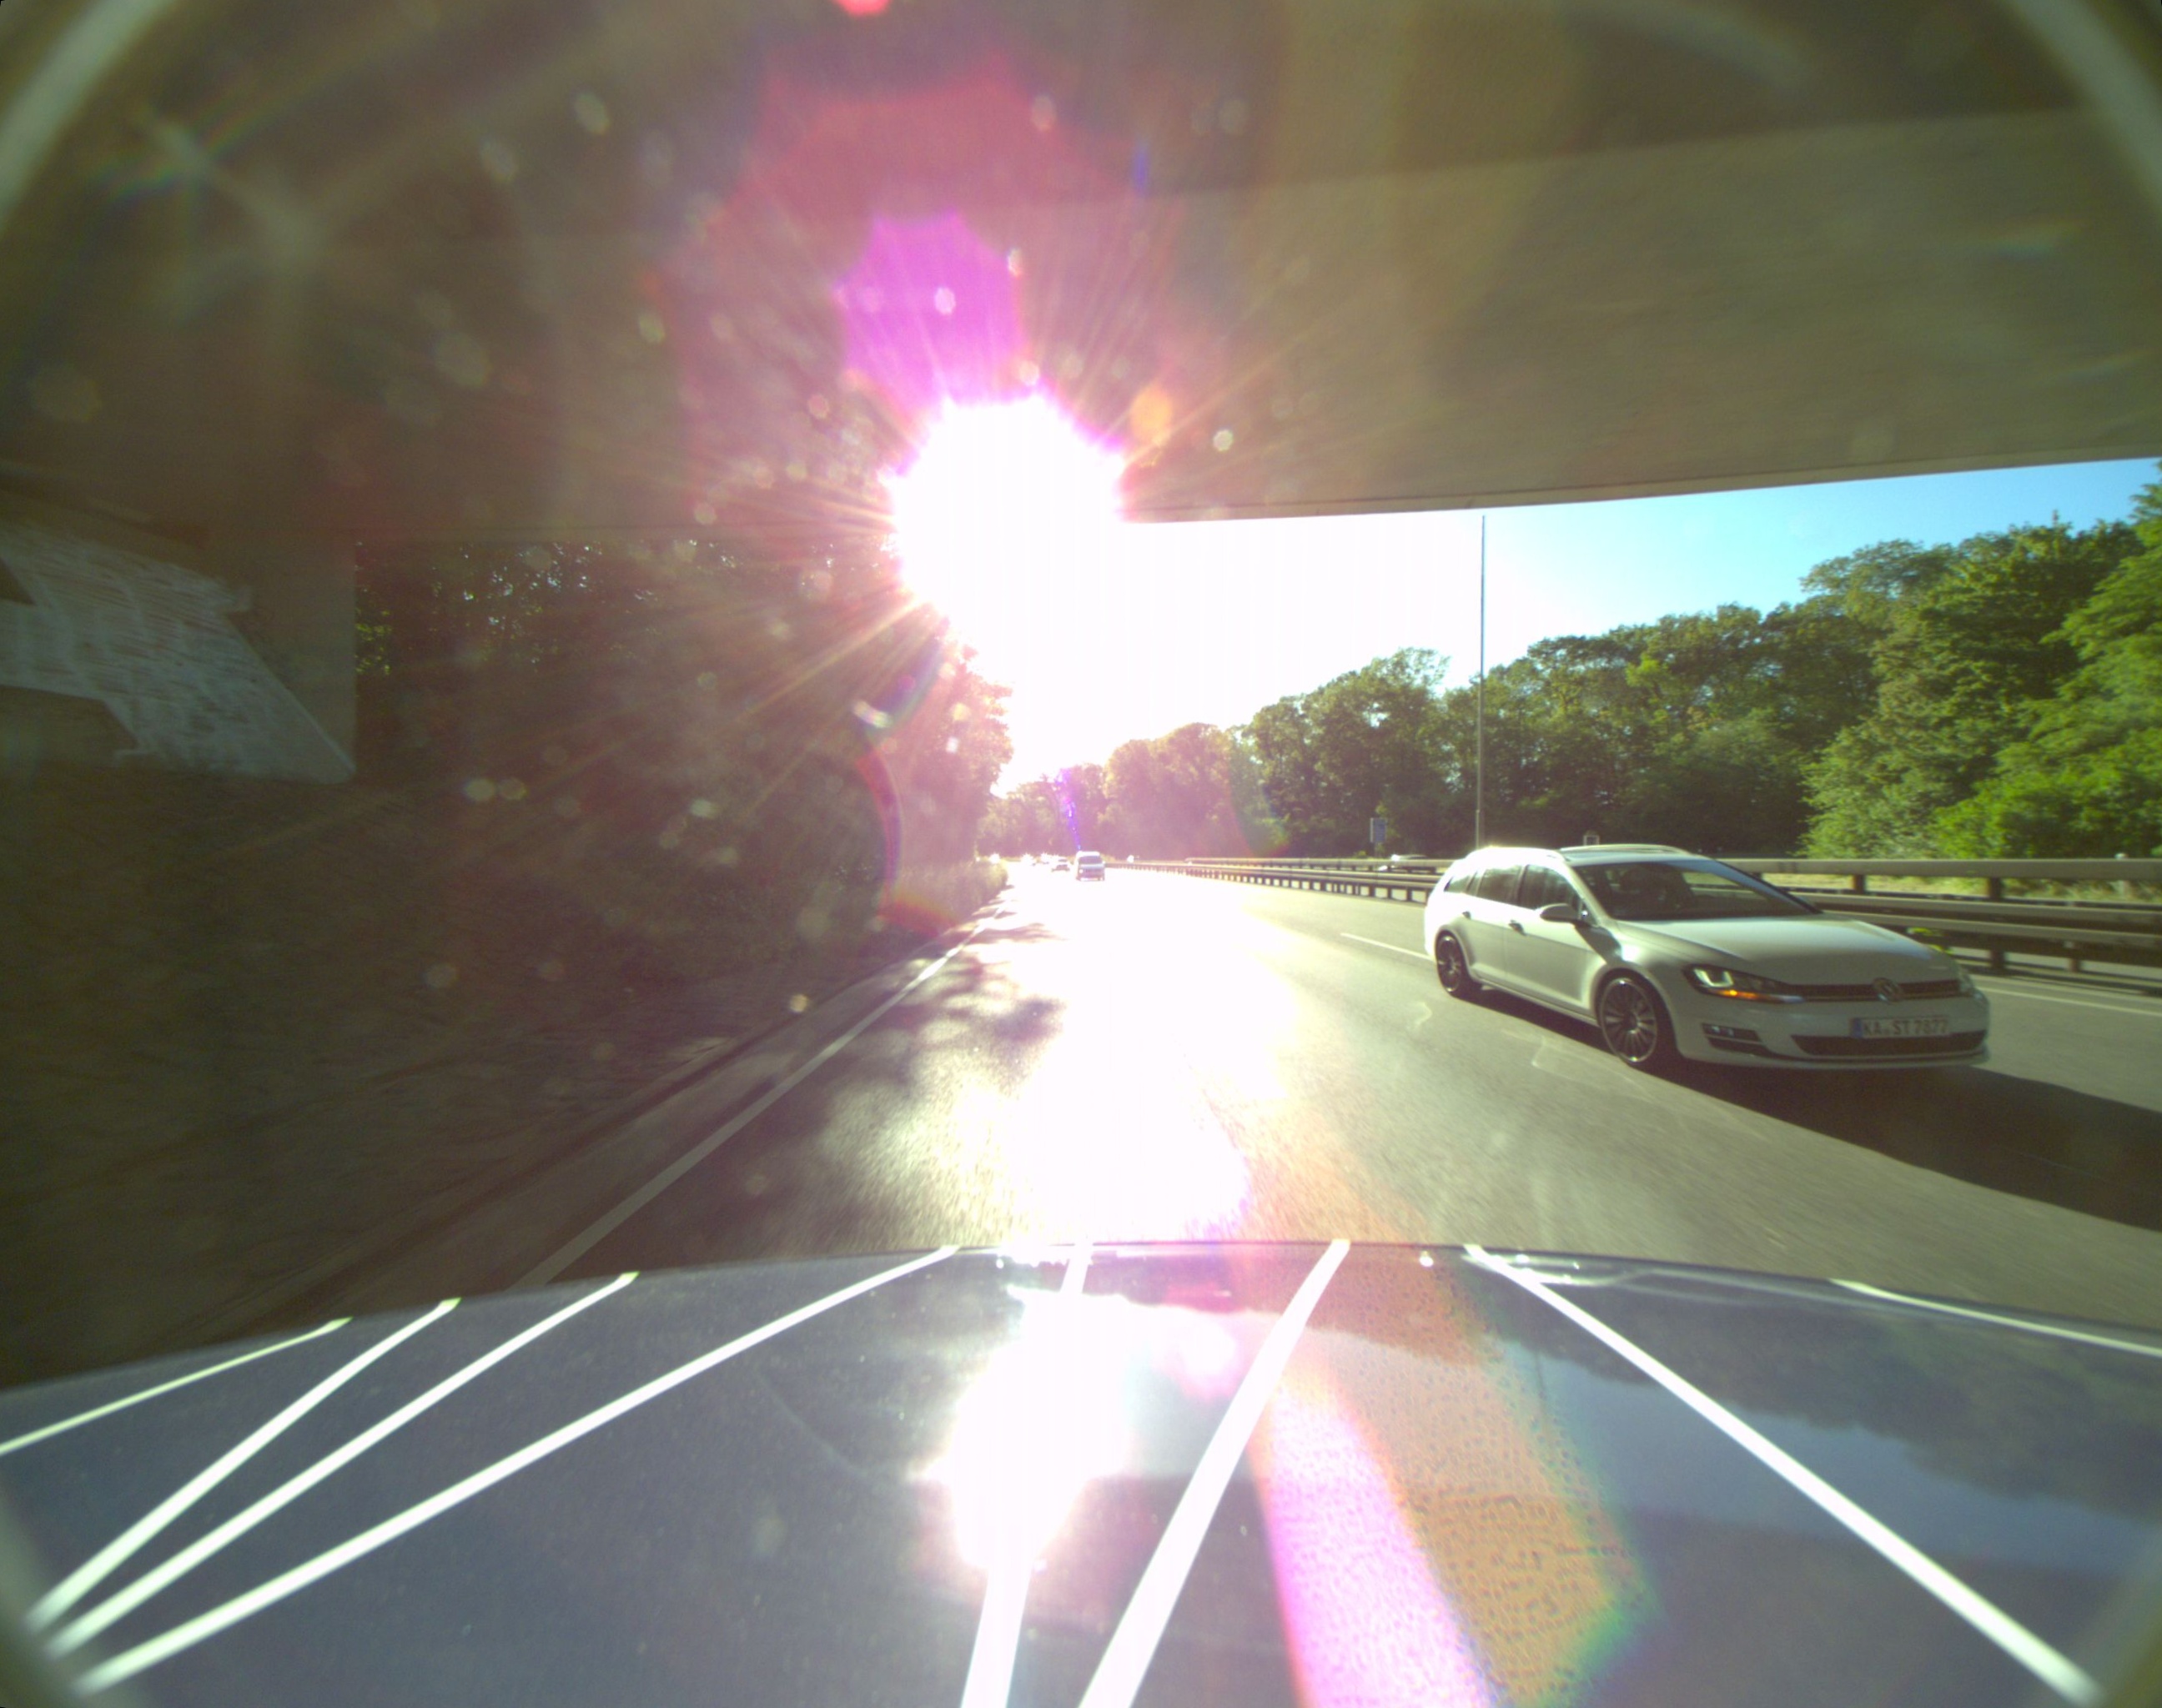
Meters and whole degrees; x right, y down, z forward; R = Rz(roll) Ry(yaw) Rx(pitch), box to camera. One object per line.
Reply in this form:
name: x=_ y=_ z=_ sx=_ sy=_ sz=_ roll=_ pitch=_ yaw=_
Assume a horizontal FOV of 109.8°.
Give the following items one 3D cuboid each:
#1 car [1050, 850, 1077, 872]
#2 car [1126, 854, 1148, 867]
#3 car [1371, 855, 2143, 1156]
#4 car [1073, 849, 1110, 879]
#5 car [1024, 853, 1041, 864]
car: x=-1.748 y=0.635 z=73.500 sx=2.257 sy=1.843 sz=5.137 roll=-2 pitch=3 yaw=-5
car: x=8.272 y=1.002 z=112.786 sx=2.000 sy=1.837 sz=5.305 roll=-2 pitch=0 yaw=-10
car: x=4.548 y=0.794 z=6.719 sx=1.934 sy=1.499 sz=5.599 roll=-2 pitch=0 yaw=2
car: x=0.616 y=0.595 z=49.095 sx=1.801 sy=1.796 sz=4.829 roll=-2 pitch=1 yaw=-6
car: x=-6.832 y=0.626 z=106.416 sx=1.935 sy=1.499 sz=5.082 roll=-1 pitch=1 yaw=-8
